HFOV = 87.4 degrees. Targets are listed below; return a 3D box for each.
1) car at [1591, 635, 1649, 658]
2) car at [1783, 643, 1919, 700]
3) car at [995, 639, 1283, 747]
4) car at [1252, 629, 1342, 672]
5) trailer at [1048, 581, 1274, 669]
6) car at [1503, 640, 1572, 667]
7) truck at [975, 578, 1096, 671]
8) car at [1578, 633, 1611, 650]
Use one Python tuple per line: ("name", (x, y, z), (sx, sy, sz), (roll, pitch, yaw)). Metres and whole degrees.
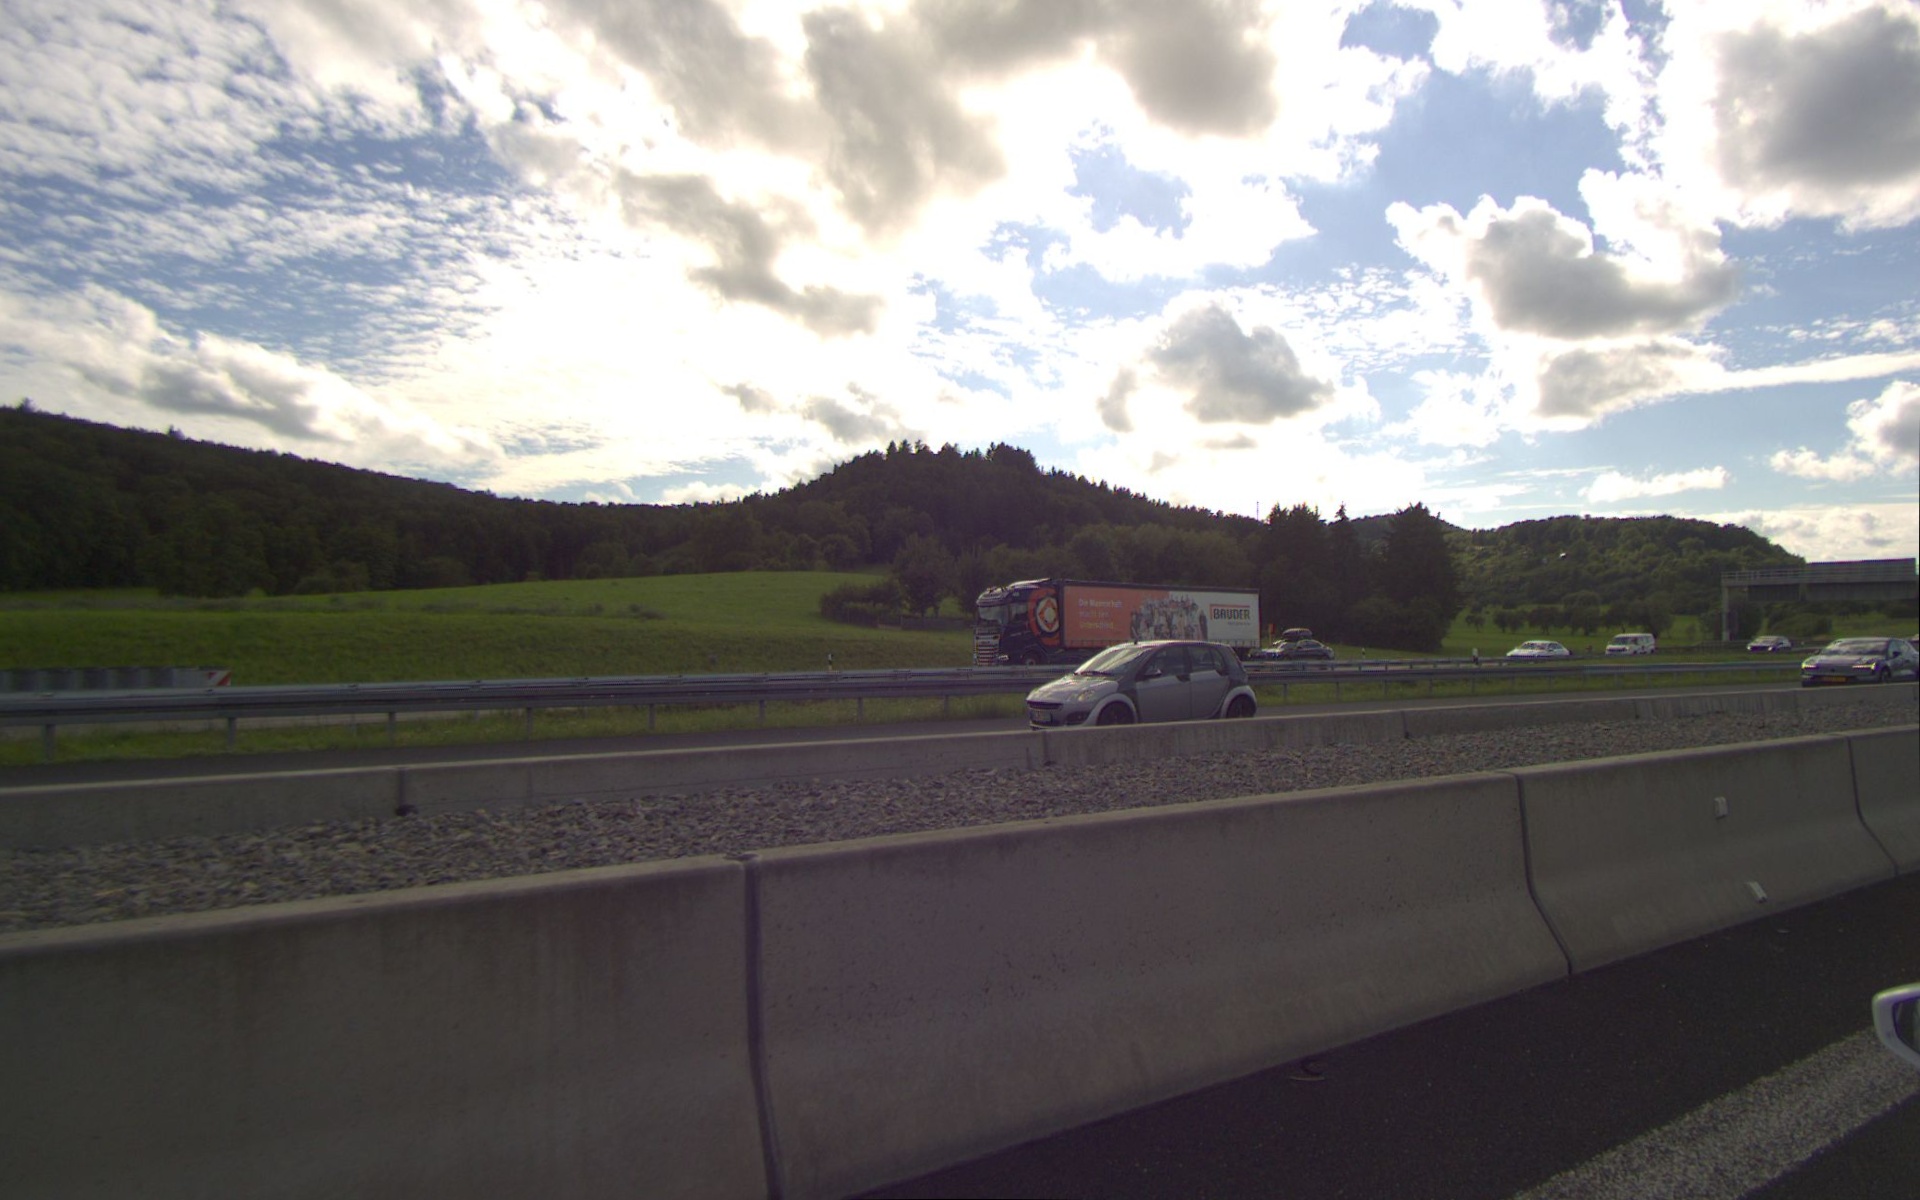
("car", (46.449, 3.283, 70.673), (4.842, 1.568, 1.761), (2, -3, -36))
("car", (26.100, 2.026, 29.157), (4.455, 1.552, 1.984), (2, -3, -31))
("car", (2.799, 1.360, 15.615), (4.132, 1.475, 1.985), (2, -3, -30))
("car", (15.952, 2.386, 47.490), (4.355, 1.922, 1.761), (2, -3, -35))
("trailer", (9.872, 1.307, 47.749), (13.109, 3.785, 1.981), (2, -3, -35))
("car", (31.349, 2.901, 54.509), (4.360, 1.418, 1.759), (2, -3, -38))
("truck", (3.265, 1.096, 43.178), (5.098, 3.810, 1.981), (2, -3, -35))
("car", (76.390, 5.034, 120.897), (3.958, 2.040, 1.982), (2, -3, -34))
